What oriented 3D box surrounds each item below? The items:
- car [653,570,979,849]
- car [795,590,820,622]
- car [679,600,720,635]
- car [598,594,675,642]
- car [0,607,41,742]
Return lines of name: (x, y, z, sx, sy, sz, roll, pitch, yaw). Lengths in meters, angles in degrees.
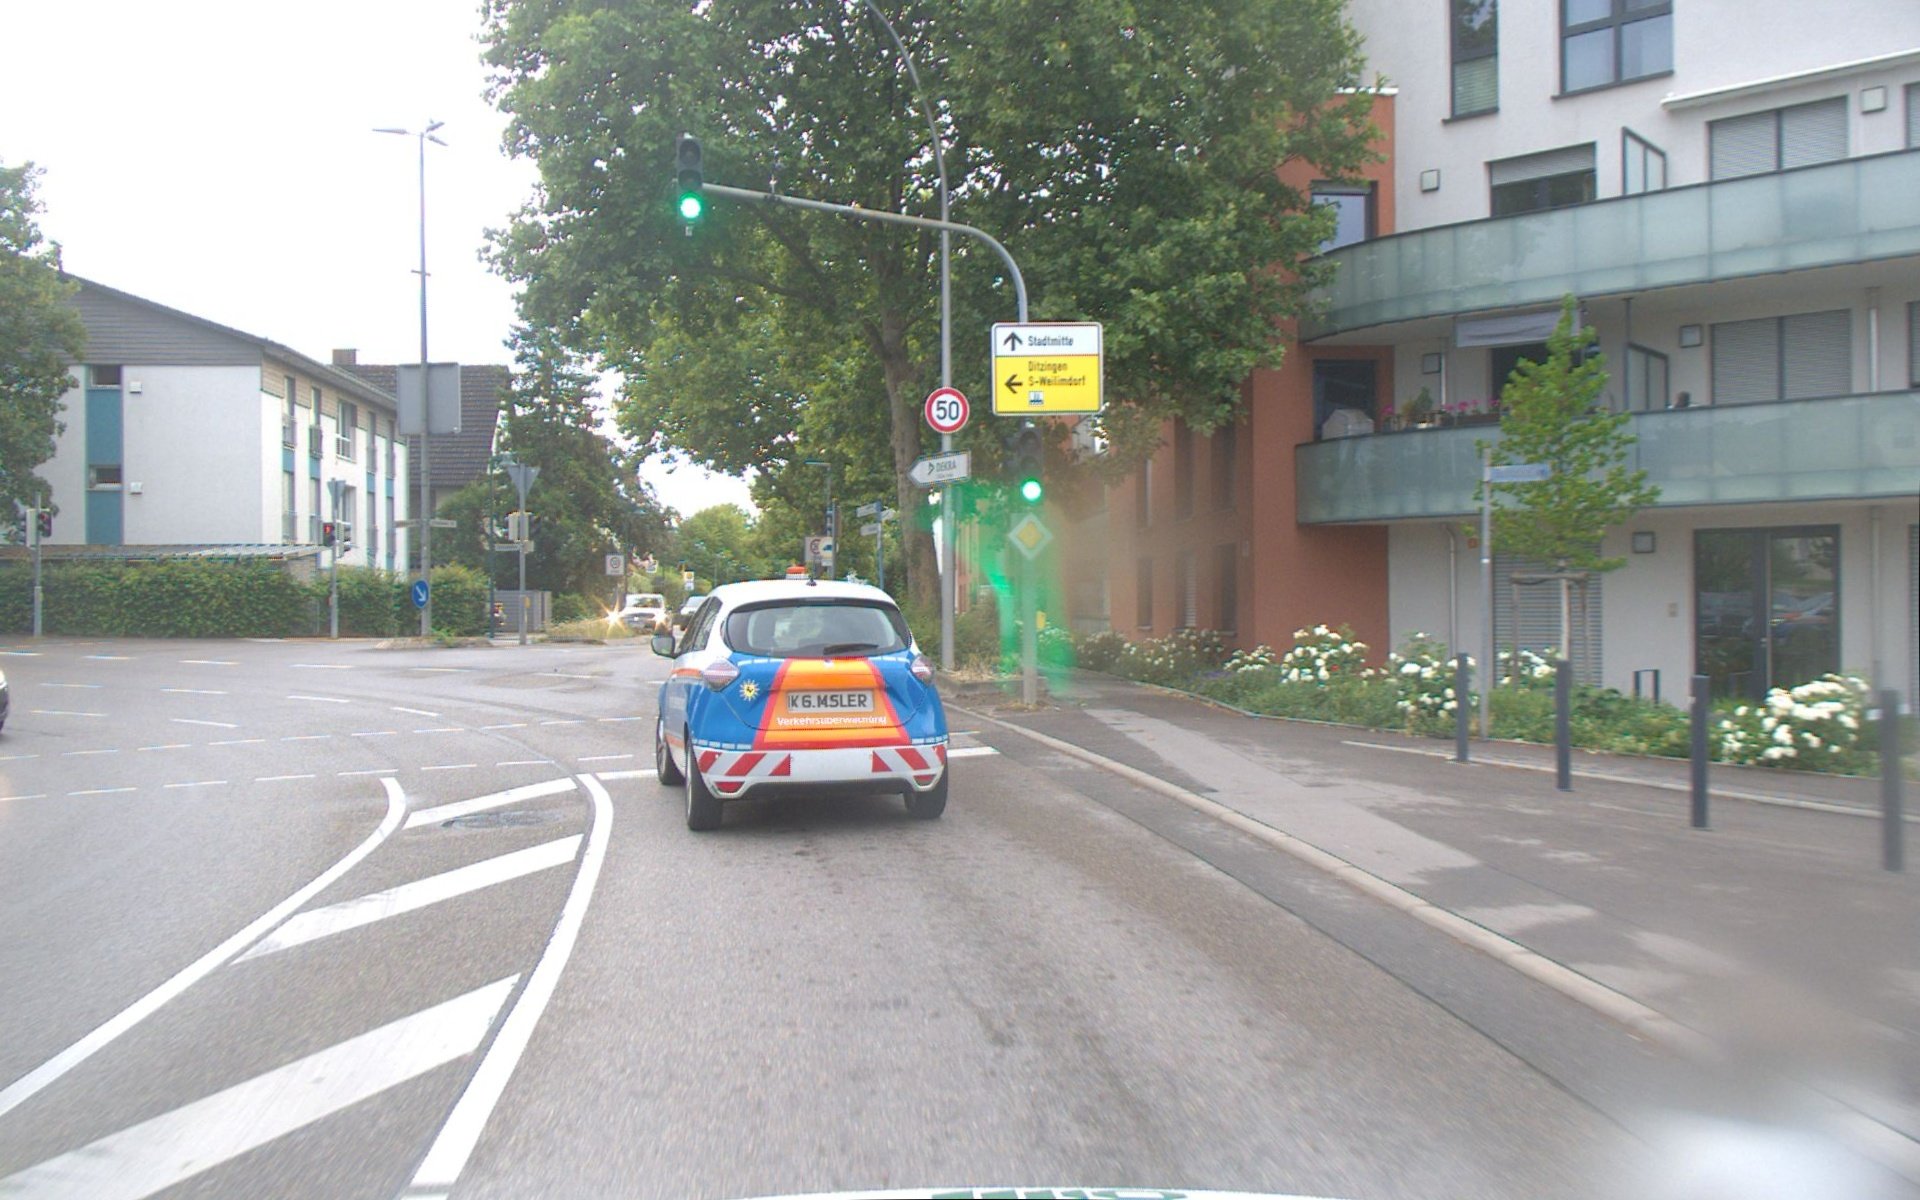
car: (-1.203, 0.615, 11.899, 1.716, 1.608, 3.986, -1, 1, -14)
car: (-10.010, 0.380, 108.432, 1.611, 2.052, 3.712, 0, 1, -5)
car: (-12.847, 0.846, 81.700, 1.842, 1.698, 3.708, 0, 0, -7)
car: (-10.482, 0.582, 53.867, 1.903, 1.477, 4.296, 1, 0, -4)
car: (-12.615, 0.874, 19.221, 3.917, 1.481, 1.725, 0, 3, 34)
